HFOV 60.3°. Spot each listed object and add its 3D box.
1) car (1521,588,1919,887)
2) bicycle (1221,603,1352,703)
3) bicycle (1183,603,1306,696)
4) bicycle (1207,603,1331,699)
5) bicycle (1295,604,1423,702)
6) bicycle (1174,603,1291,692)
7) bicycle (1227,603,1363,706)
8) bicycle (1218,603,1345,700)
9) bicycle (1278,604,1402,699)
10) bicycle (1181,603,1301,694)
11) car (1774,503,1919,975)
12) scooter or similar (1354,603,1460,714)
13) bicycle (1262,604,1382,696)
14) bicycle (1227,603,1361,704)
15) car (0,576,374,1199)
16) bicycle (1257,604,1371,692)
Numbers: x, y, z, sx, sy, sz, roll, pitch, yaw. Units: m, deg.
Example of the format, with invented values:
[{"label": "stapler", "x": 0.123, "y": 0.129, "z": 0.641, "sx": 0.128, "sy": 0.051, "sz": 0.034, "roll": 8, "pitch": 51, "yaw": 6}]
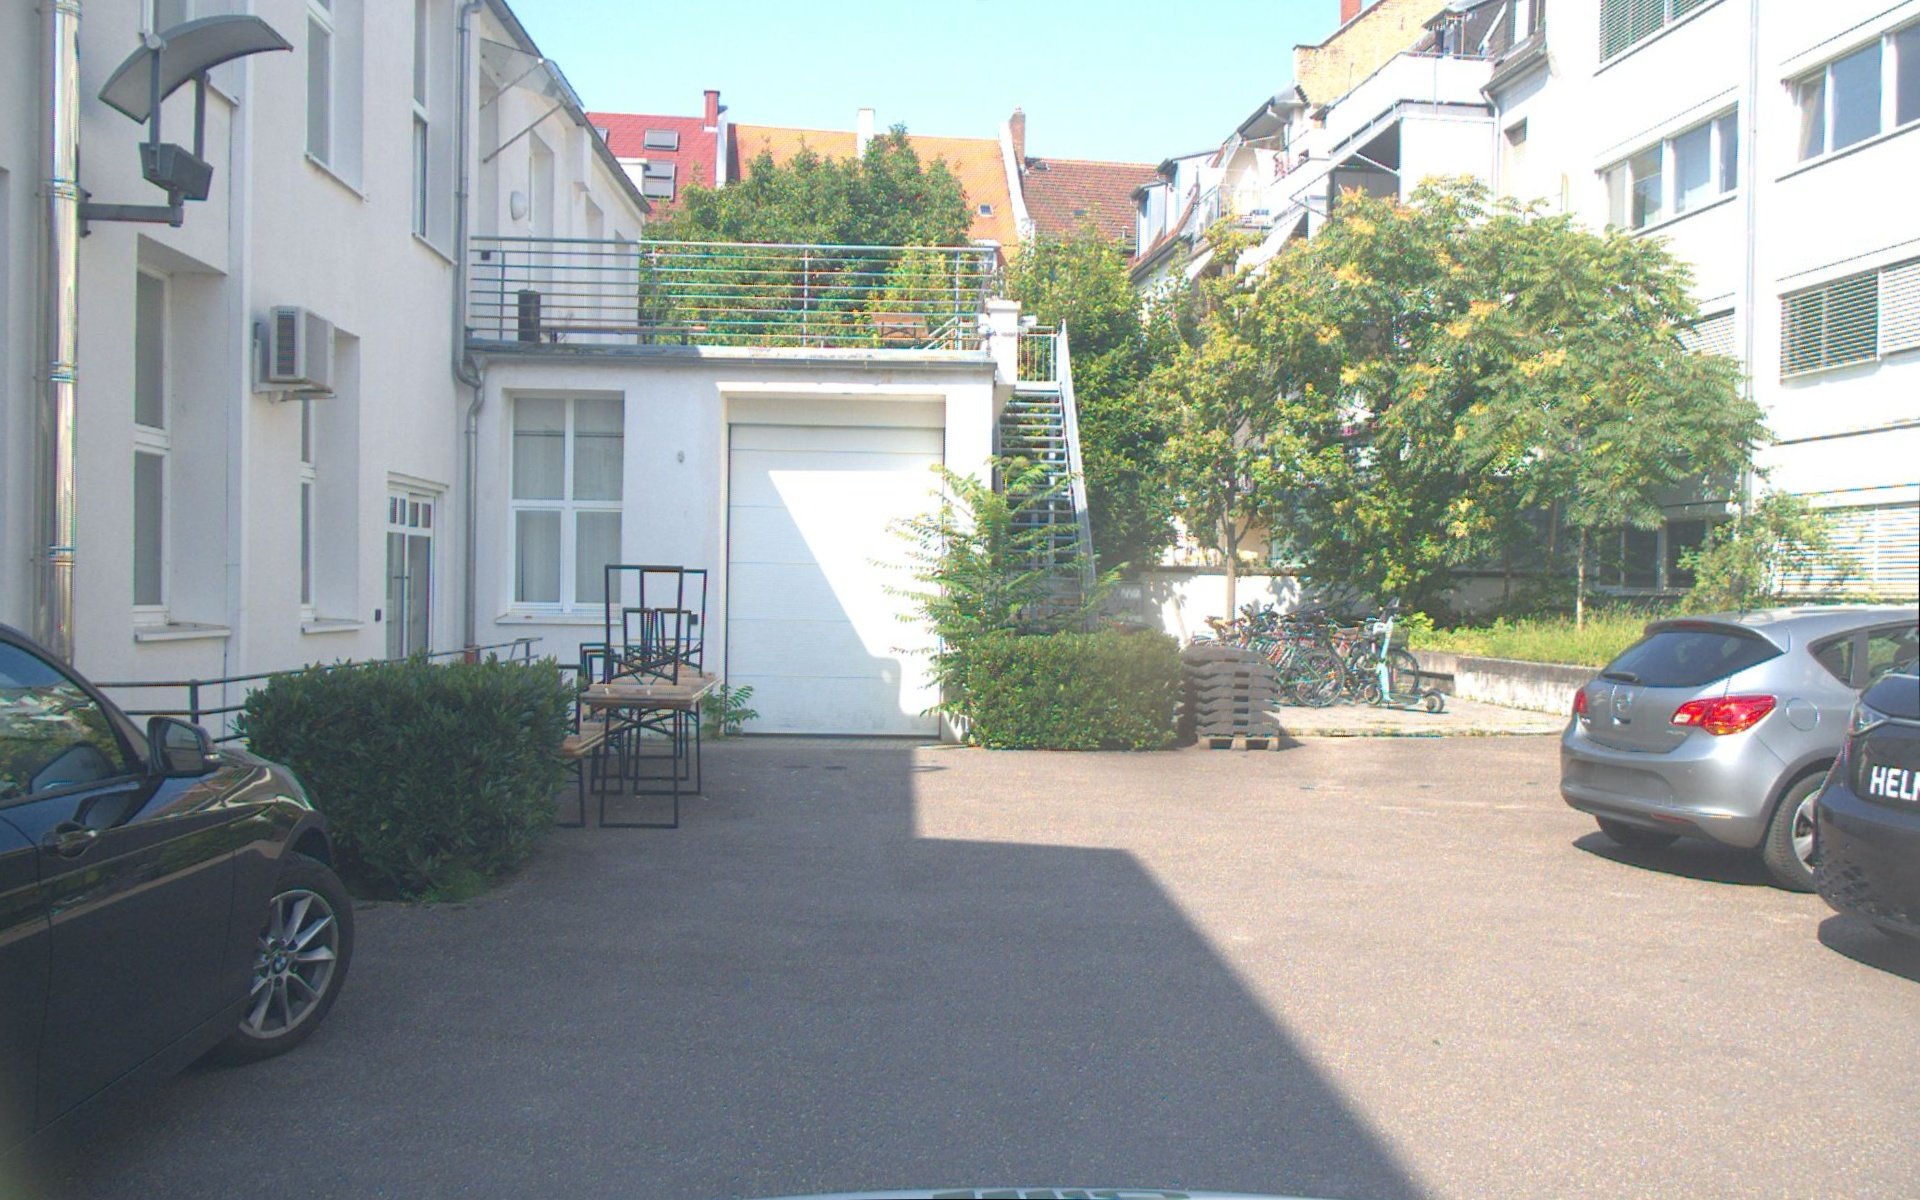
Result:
[{"label": "car", "x": 5.474, "y": 0.704, "z": 9.598, "sx": 3.862, "sy": 1.508, "sz": 1.770, "roll": 0, "pitch": -1, "yaw": -11}, {"label": "bicycle", "x": 4.111, "y": 0.660, "z": 20.859, "sx": 1.590, "sy": 1.235, "sz": 0.327, "roll": 0, "pitch": 0, "yaw": -1}, {"label": "bicycle", "x": 3.839, "y": 0.660, "z": 22.342, "sx": 1.590, "sy": 1.235, "sz": 0.424, "roll": 0, "pitch": 0, "yaw": -3}, {"label": "bicycle", "x": 4.044, "y": 0.661, "z": 21.672, "sx": 1.588, "sy": 1.235, "sz": 0.327, "roll": 0, "pitch": 0, "yaw": 11}, {"label": "bicycle", "x": 5.119, "y": 0.678, "z": 21.246, "sx": 1.588, "sy": 1.235, "sz": 0.327, "roll": 0, "pitch": 0, "yaw": 13}, {"label": "bicycle", "x": 3.878, "y": 0.664, "z": 23.580, "sx": 1.592, "sy": 1.235, "sz": 0.423, "roll": 0, "pitch": 0, "yaw": -7}, {"label": "bicycle", "x": 4.094, "y": 0.658, "z": 20.243, "sx": 1.590, "sy": 1.235, "sz": 0.327, "roll": 0, "pitch": 0, "yaw": -1}, {"label": "bicycle", "x": 4.132, "y": 0.662, "z": 21.311, "sx": 1.588, "sy": 1.235, "sz": 0.327, "roll": 0, "pitch": 0, "yaw": 8}, {"label": "bicycle", "x": 5.068, "y": 0.680, "z": 22.105, "sx": 1.588, "sy": 1.235, "sz": 0.424, "roll": 0, "pitch": 0, "yaw": 11}, {"label": "bicycle", "x": 3.902, "y": 0.663, "z": 22.979, "sx": 1.592, "sy": 1.235, "sz": 0.423, "roll": 0, "pitch": 0, "yaw": -8}, {"label": "car", "x": 5.892, "y": 0.541, "z": 6.728, "sx": 4.420, "sy": 1.826, "sz": 1.878, "roll": 0, "pitch": -1, "yaw": -11}, {"label": "scooter or similar", "x": 5.406, "y": 0.686, "z": 20.045, "sx": 0.375, "sy": 1.283, "sz": 1.333, "roll": 0, "pitch": 0, "yaw": -33}, {"label": "bicycle", "x": 4.955, "y": 0.680, "z": 22.678, "sx": 1.588, "sy": 1.235, "sz": 0.424, "roll": 0, "pitch": 0, "yaw": 10}, {"label": "bicycle", "x": 4.149, "y": 0.660, "z": 20.566, "sx": 1.590, "sy": 1.235, "sz": 0.327, "roll": 0, "pitch": 0, "yaw": -1}, {"label": "car", "x": -2.599, "y": 0.685, "z": 3.275, "sx": 1.655, "sy": 1.484, "sz": 3.920, "roll": 1, "pitch": 0, "yaw": -3}, {"label": "bicycle", "x": 5.063, "y": 0.684, "z": 23.708, "sx": 1.588, "sy": 1.235, "sz": 0.424, "roll": 0, "pitch": 0, "yaw": 10}]
